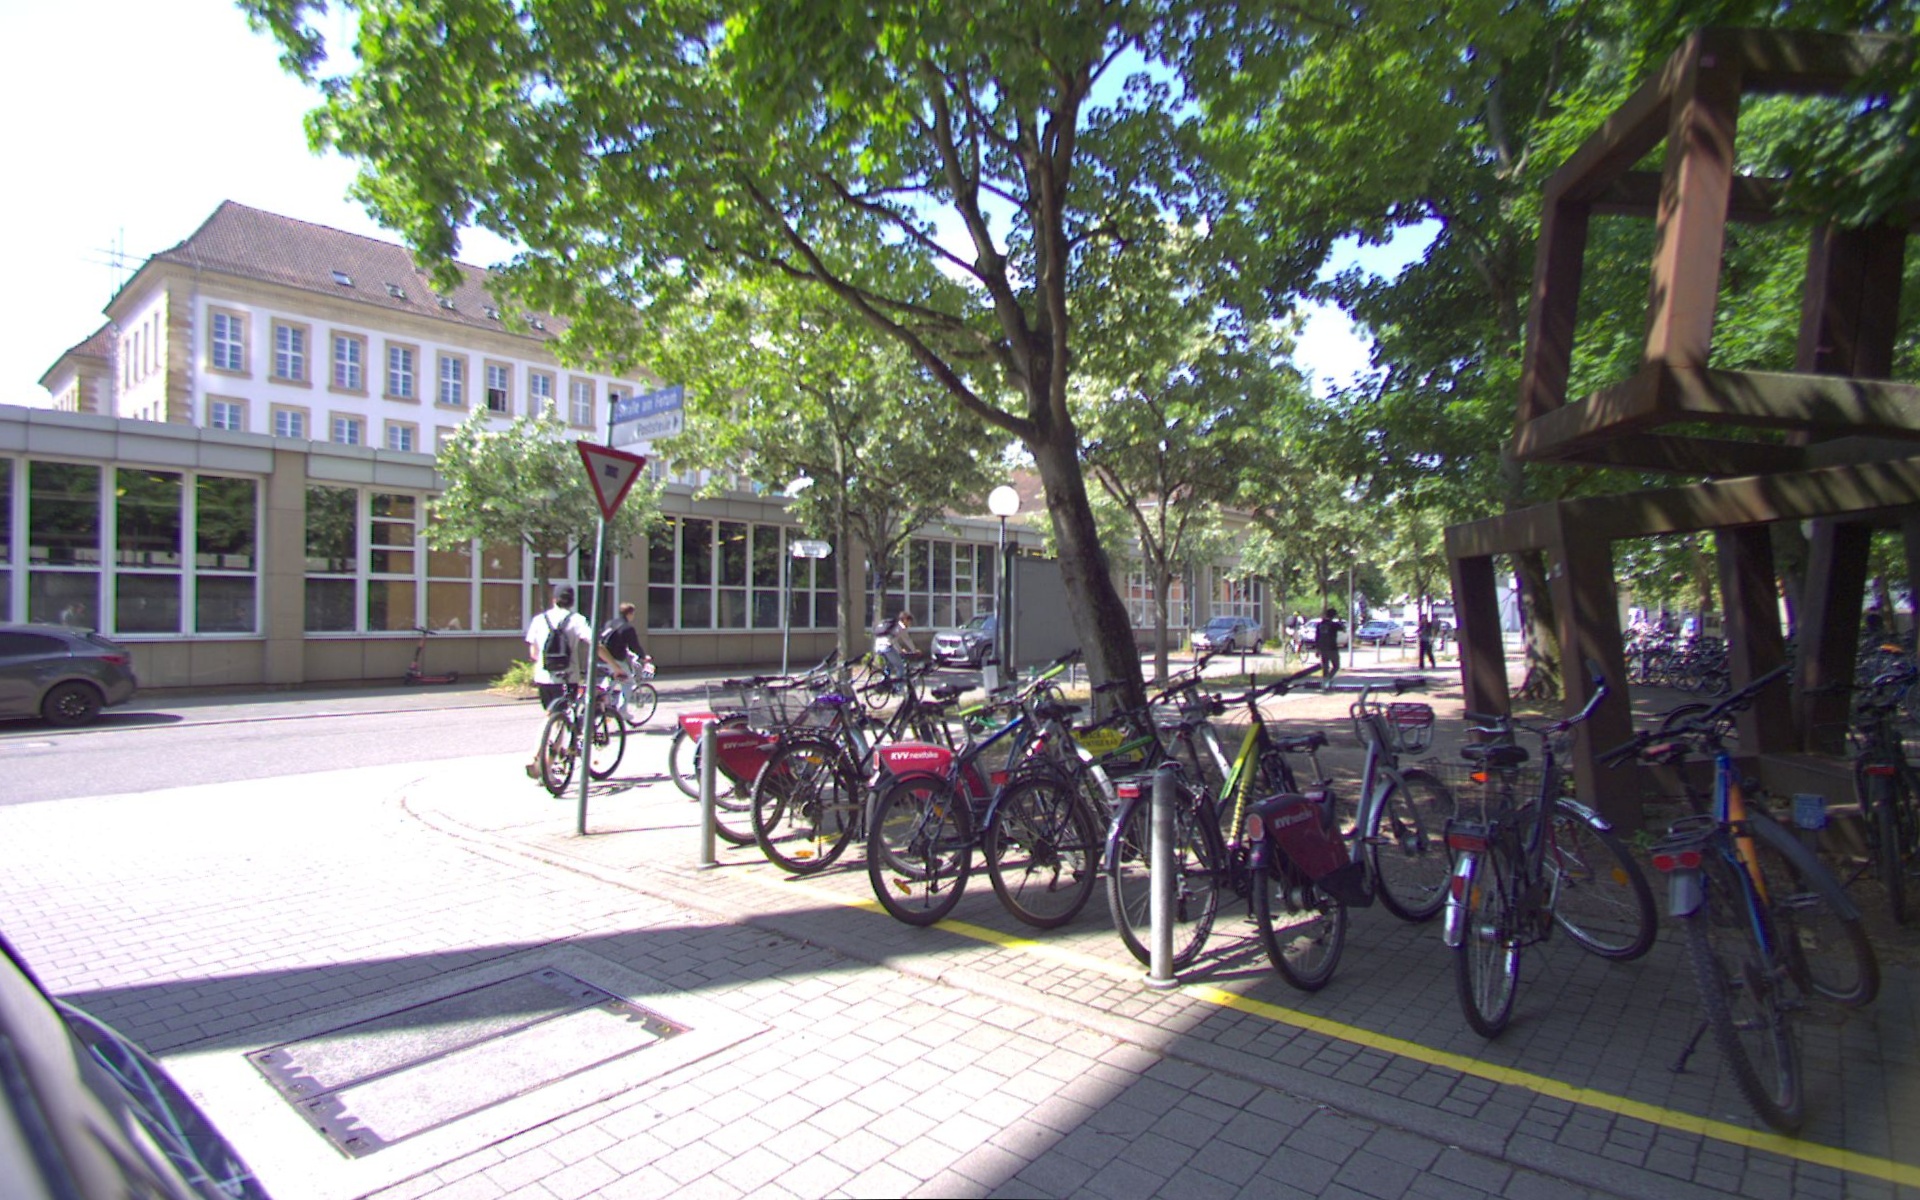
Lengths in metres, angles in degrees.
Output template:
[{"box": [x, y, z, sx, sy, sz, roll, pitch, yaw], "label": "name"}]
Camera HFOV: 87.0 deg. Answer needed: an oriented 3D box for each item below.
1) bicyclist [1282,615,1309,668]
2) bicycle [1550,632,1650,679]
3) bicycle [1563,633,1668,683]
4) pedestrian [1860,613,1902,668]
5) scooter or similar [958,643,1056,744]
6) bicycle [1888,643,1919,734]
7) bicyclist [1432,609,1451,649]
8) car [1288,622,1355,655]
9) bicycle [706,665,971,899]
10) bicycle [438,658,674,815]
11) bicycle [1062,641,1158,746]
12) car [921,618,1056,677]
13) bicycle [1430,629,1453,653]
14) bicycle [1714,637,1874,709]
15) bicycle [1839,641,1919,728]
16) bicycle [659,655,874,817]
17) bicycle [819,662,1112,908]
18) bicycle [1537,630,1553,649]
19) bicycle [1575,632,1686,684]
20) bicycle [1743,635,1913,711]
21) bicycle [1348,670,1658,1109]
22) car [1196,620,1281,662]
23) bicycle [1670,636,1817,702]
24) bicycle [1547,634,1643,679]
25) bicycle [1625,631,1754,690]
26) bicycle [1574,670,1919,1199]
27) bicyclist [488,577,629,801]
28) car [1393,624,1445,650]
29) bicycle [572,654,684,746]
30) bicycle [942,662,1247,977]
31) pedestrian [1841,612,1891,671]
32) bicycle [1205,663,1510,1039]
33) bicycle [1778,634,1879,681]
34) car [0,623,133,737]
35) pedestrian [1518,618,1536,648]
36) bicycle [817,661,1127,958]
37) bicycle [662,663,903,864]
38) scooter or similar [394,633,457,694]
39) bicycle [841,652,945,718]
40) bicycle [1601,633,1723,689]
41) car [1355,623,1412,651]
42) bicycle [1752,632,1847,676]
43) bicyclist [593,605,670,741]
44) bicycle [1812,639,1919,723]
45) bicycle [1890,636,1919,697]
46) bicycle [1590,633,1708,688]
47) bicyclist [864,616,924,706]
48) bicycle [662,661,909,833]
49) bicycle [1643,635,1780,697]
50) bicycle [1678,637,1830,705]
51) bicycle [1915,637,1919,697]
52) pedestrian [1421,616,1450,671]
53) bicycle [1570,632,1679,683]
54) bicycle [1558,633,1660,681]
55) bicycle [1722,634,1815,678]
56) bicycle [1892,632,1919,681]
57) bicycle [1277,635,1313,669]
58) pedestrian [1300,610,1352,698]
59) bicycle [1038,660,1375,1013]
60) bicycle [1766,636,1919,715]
[{"box": [11.614, 1.430, 35.047, 0.603, 1.815, 0.888, -2, -3, 35], "label": "bicyclist"}, {"box": [15.802, 1.356, 25.027, 2.011, 1.116, 0.500, 0, 0, 15], "label": "bicycle"}, {"box": [15.448, 1.358, 23.903, 2.011, 1.116, 0.500, 0, 0, 15], "label": "bicycle"}, {"box": [31.390, 1.367, 34.502, 0.765, 1.816, 0.900, -1, -1, 23], "label": "pedestrian"}, {"box": [0.576, 1.143, 12.536, 1.166, 1.204, 0.293, 0, -2, -13], "label": "scooter or similar"}, {"box": [12.885, 1.104, 12.587, 1.984, 1.116, 0.501, 0, 0, 12], "label": "bicycle"}, {"box": [23.232, 1.401, 48.823, 0.669, 1.889, 0.817, -2, -3, 35], "label": "bicyclist"}, {"box": [18.353, 1.922, 51.306, 1.836, 1.553, 4.479, -2, -2, 39], "label": "car"}, {"box": [-0.652, 0.969, 5.887, 0.497, 1.116, 1.607, -3, -3, 41], "label": "bicycle"}, {"box": [-3.443, 1.114, 8.827, 0.801, 1.181, 1.870, -2, -3, 26], "label": "bicycle"}, {"box": [1.849, 1.089, 12.271, 0.392, 1.116, 1.818, 0, 0, 34], "label": "bicycle"}, {"box": [0.963, 1.391, 31.244, 1.836, 1.629, 4.479, 1, 0, 39], "label": "car"}, {"box": [23.233, 1.974, 48.810, 0.669, 1.116, 2.047, -2, -3, 35], "label": "bicycle"}, {"box": [13.441, 1.162, 16.345, 2.007, 1.116, 0.501, 0, 0, 9], "label": "bicycle"}, {"box": [12.918, 1.112, 13.350, 1.984, 1.116, 0.501, 0, 0, 12], "label": "bicycle"}, {"box": [-1.571, 1.053, 8.187, 1.601, 1.168, 0.641, -1, -3, -20], "label": "bicycle"}, {"box": [0.069, 0.926, 5.533, 1.603, 1.116, 0.498, 0, -3, -37], "label": "bicycle"}, {"box": [34.910, 2.337, 60.404, 0.470, 1.092, 1.689, 0, 0, 18], "label": "bicycle"}, {"box": [15.001, 1.291, 22.681, 2.011, 1.116, 0.500, 0, 0, 15], "label": "bicycle"}, {"box": [13.335, 1.113, 15.581, 2.007, 1.116, 0.501, 0, 0, 9], "label": "bicycle"}, {"box": [1.967, 0.858, 3.560, 1.605, 1.116, 0.497, 0, 0, -44], "label": "bicycle"}, {"box": [11.719, 1.674, 42.406, 1.836, 1.646, 4.479, -2, -2, 39], "label": "car"}, {"box": [13.803, 1.199, 17.879, 2.011, 1.116, 0.500, 0, 0, 15], "label": "bicycle"}, {"box": [16.372, 1.444, 26.141, 2.017, 1.116, 0.499, 0, 0, 23], "label": "bicycle"}, {"box": [14.468, 1.183, 20.114, 2.011, 1.116, 0.500, 0, 0, 15], "label": "bicycle"}, {"box": [2.480, 0.825, 3.052, 1.605, 1.116, 0.691, 0, 0, -44], "label": "bicycle"}, {"box": [-3.632, 0.757, 9.185, 0.801, 1.906, 0.860, -1, 0, 26], "label": "bicyclist"}, {"box": [28.238, 2.246, 62.137, 1.836, 1.553, 4.479, -2, -2, 39], "label": "car"}, {"box": [-4.744, 1.396, 14.600, 0.668, 1.149, 1.879, 0, -1, 12], "label": "bicycle"}, {"box": [0.670, 0.890, 4.628, 1.605, 1.116, 0.497, 0, 0, -44], "label": "bicycle"}, {"box": [27.950, 1.261, 31.227, 0.914, 1.788, 0.780, -1, -1, 24], "label": "pedestrian"}, {"box": [1.632, 0.855, 4.009, 1.605, 1.116, 0.506, 0, 0, -44], "label": "bicycle"}, {"box": [20.895, 1.379, 24.377, 1.838, 1.092, 0.472, 0, 0, 10], "label": "bicycle"}, {"box": [-14.073, 1.101, 13.778, 1.652, 1.487, 4.154, 1, 0, 41], "label": "car"}, {"box": [34.026, 1.964, 60.718, 0.764, 1.788, 0.902, -1, -1, 18], "label": "pedestrian"}, {"box": [0.114, 0.898, 4.856, 1.605, 1.116, 0.497, 0, 0, -44], "label": "bicycle"}, {"box": [-1.127, 1.007, 6.704, 0.497, 1.116, 1.607, -3, -3, 41], "label": "bicycle"}, {"box": [-11.286, 1.329, 21.392, 0.290, 1.235, 1.142, -2, -2, 44], "label": "scooter or similar"}, {"box": [-1.214, 1.521, 18.510, 1.789, 1.116, 0.642, 2, -1, -35], "label": "bicycle"}, {"box": [14.509, 1.249, 20.951, 2.011, 1.116, 0.500, 0, 0, 15], "label": "bicycle"}, {"box": [24.162, 2.076, 57.653, 1.836, 1.553, 4.479, -2, -2, 39], "label": "car"}, {"box": [21.173, 1.359, 25.557, 1.838, 1.092, 0.472, 0, 0, 10], "label": "bicycle"}, {"box": [-4.735, 1.020, 14.644, 0.668, 1.902, 0.965, 0, -1, 13], "label": "bicyclist"}, {"box": [13.037, 1.107, 13.933, 1.984, 1.116, 0.501, 0, 0, 12], "label": "bicycle"}, {"box": [18.302, 1.218, 18.618, 1.835, 1.092, 0.473, 0, 0, 4], "label": "bicycle"}, {"box": [14.657, 1.270, 21.563, 2.011, 1.116, 0.500, 0, 0, 15], "label": "bicycle"}, {"box": [-1.204, 1.098, 18.507, 0.860, 1.585, 0.642, 2, -1, -35], "label": "bicyclist"}, {"box": [-1.302, 1.046, 7.549, 1.716, 1.116, 0.592, -1, -3, -20], "label": "bicycle"}, {"box": [14.101, 1.226, 19.028, 2.011, 1.116, 0.500, 0, 0, 15], "label": "bicycle"}, {"box": [13.597, 1.202, 17.378, 2.011, 1.116, 0.500, 0, 0, 15], "label": "bicycle"}, {"box": [18.191, 1.205, 18.022, 1.835, 1.092, 0.473, 0, 0, 4], "label": "bicycle"}, {"box": [13.514, 1.218, 28.747, 0.570, 1.531, 0.830, -1, -1, 37], "label": "pedestrian"}, {"box": [15.216, 1.309, 23.205, 2.011, 1.116, 0.500, 0, 0, 15], "label": "bicycle"}, {"box": [15.692, 1.373, 24.513, 2.011, 1.116, 0.500, 0, 0, 15], "label": "bicycle"}, {"box": [21.303, 1.463, 26.698, 1.848, 1.092, 0.470, 0, 0, 25], "label": "bicycle"}, {"box": [21.907, 1.258, 22.536, 1.682, 1.092, 0.472, 0, 0, 13], "label": "bicycle"}, {"box": [11.632, 1.790, 35.060, 0.603, 1.116, 2.047, -2, -3, 35], "label": "bicycle"}, {"box": [7.294, 1.065, 20.158, 0.727, 1.697, 0.863, -2, -2, 38], "label": "pedestrian"}, {"box": [1.093, 0.856, 4.256, 1.606, 1.116, 0.630, 0, 0, -45], "label": "bicycle"}, {"box": [13.256, 1.107, 15.041, 2.007, 1.116, 0.501, 0, 0, 9], "label": "bicycle"}]
